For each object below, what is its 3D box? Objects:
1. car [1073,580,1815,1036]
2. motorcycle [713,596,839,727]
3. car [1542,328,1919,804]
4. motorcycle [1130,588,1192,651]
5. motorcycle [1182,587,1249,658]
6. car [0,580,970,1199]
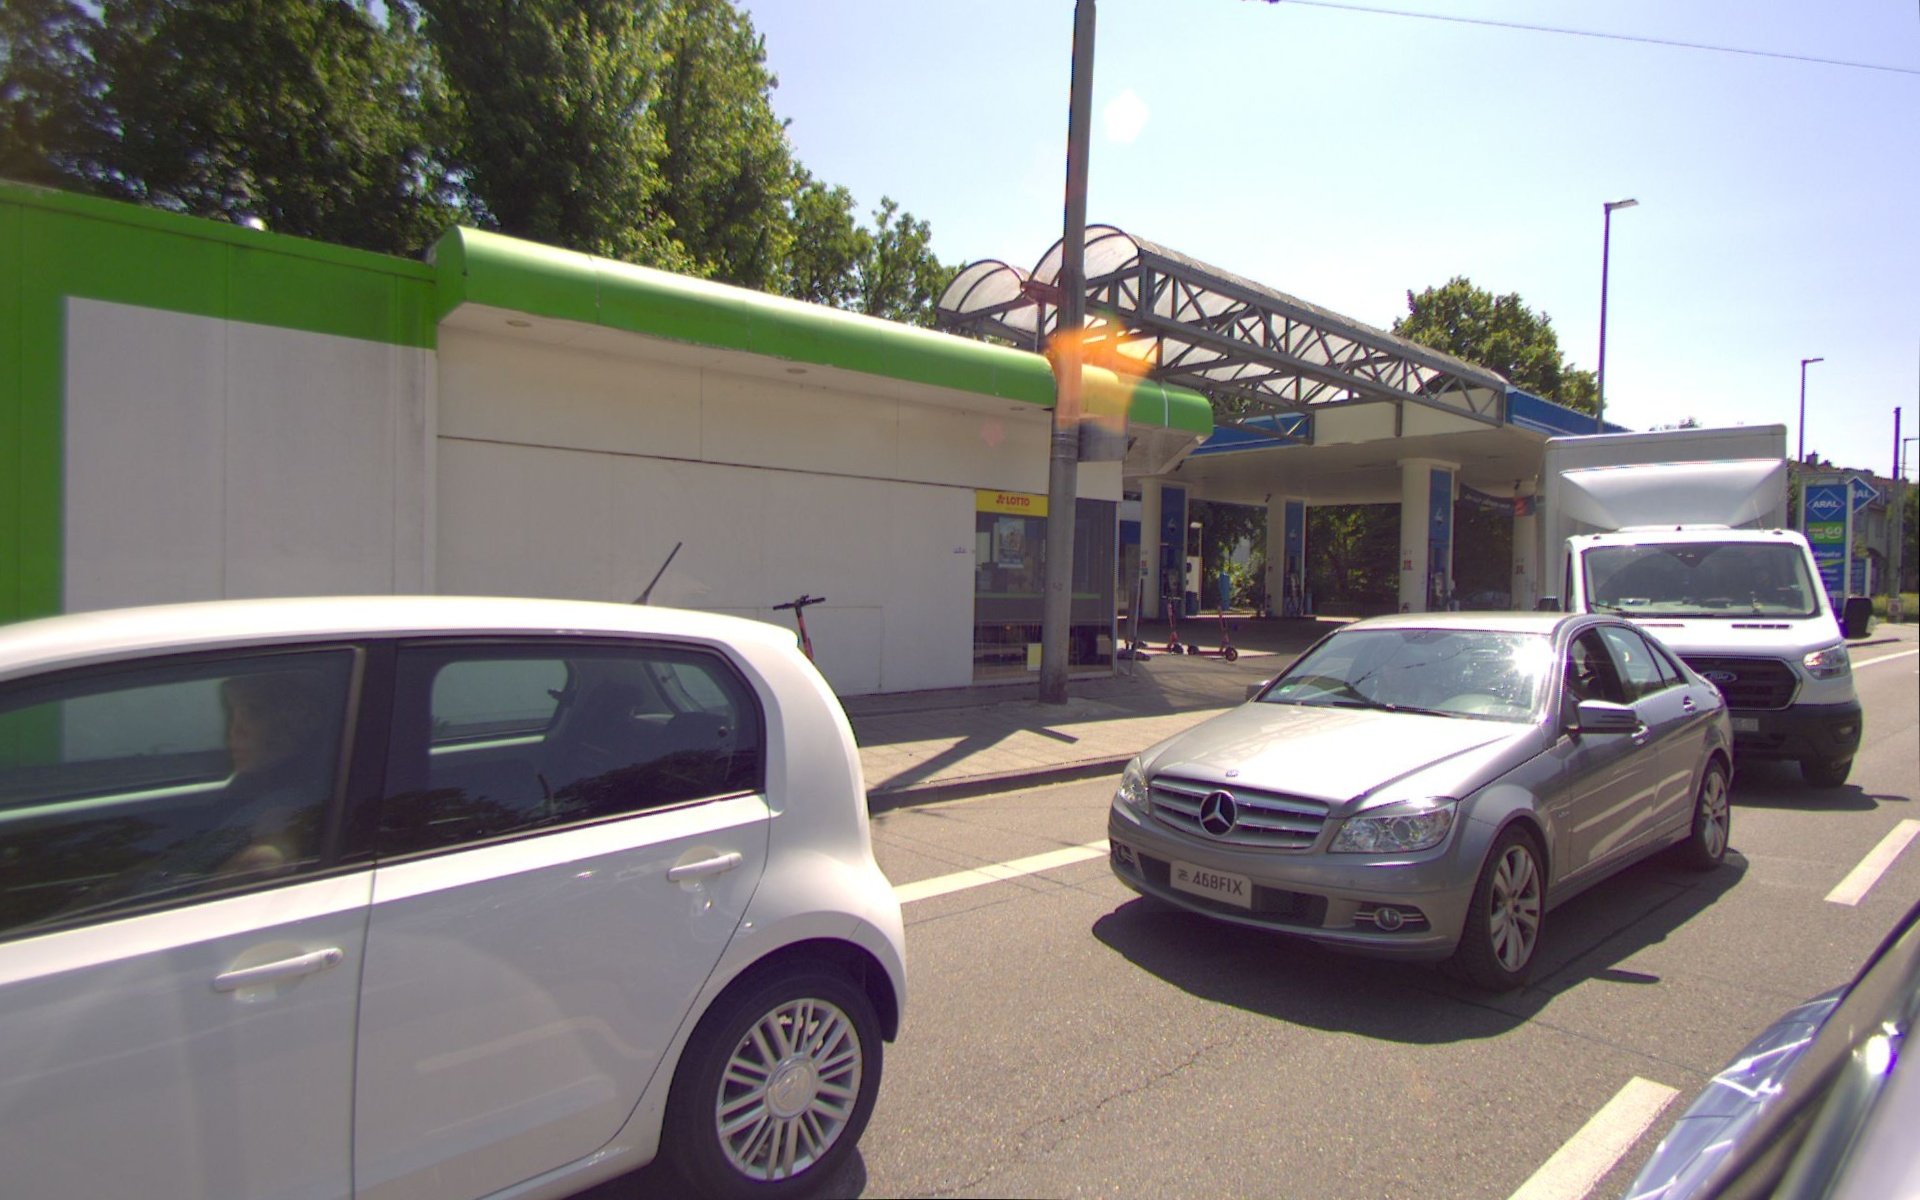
[{"bbox_3d":[3.061,0.699,5.651,5.206,1.492,1.716,0,-1,-40],"label":"car"},{"bbox_3d":[-1.681,0.541,9.309,1.098,1.118,0.253,-1,7,-40],"label":"motorcycle"},{"bbox_3d":[7.945,-0.264,11.464,2.211,3.378,8.546,-1,0,29],"label":"car"},{"bbox_3d":[3.945,0.370,19.915,0.389,1.127,1.156,2,2,-41],"label":"motorcycle"},{"bbox_3d":[4.785,0.411,18.985,0.357,1.225,1.156,2,2,-41],"label":"motorcycle"},{"bbox_3d":[-1.776,0.701,2.275,3.374,1.466,1.612,1,0,-40],"label":"car"}]
